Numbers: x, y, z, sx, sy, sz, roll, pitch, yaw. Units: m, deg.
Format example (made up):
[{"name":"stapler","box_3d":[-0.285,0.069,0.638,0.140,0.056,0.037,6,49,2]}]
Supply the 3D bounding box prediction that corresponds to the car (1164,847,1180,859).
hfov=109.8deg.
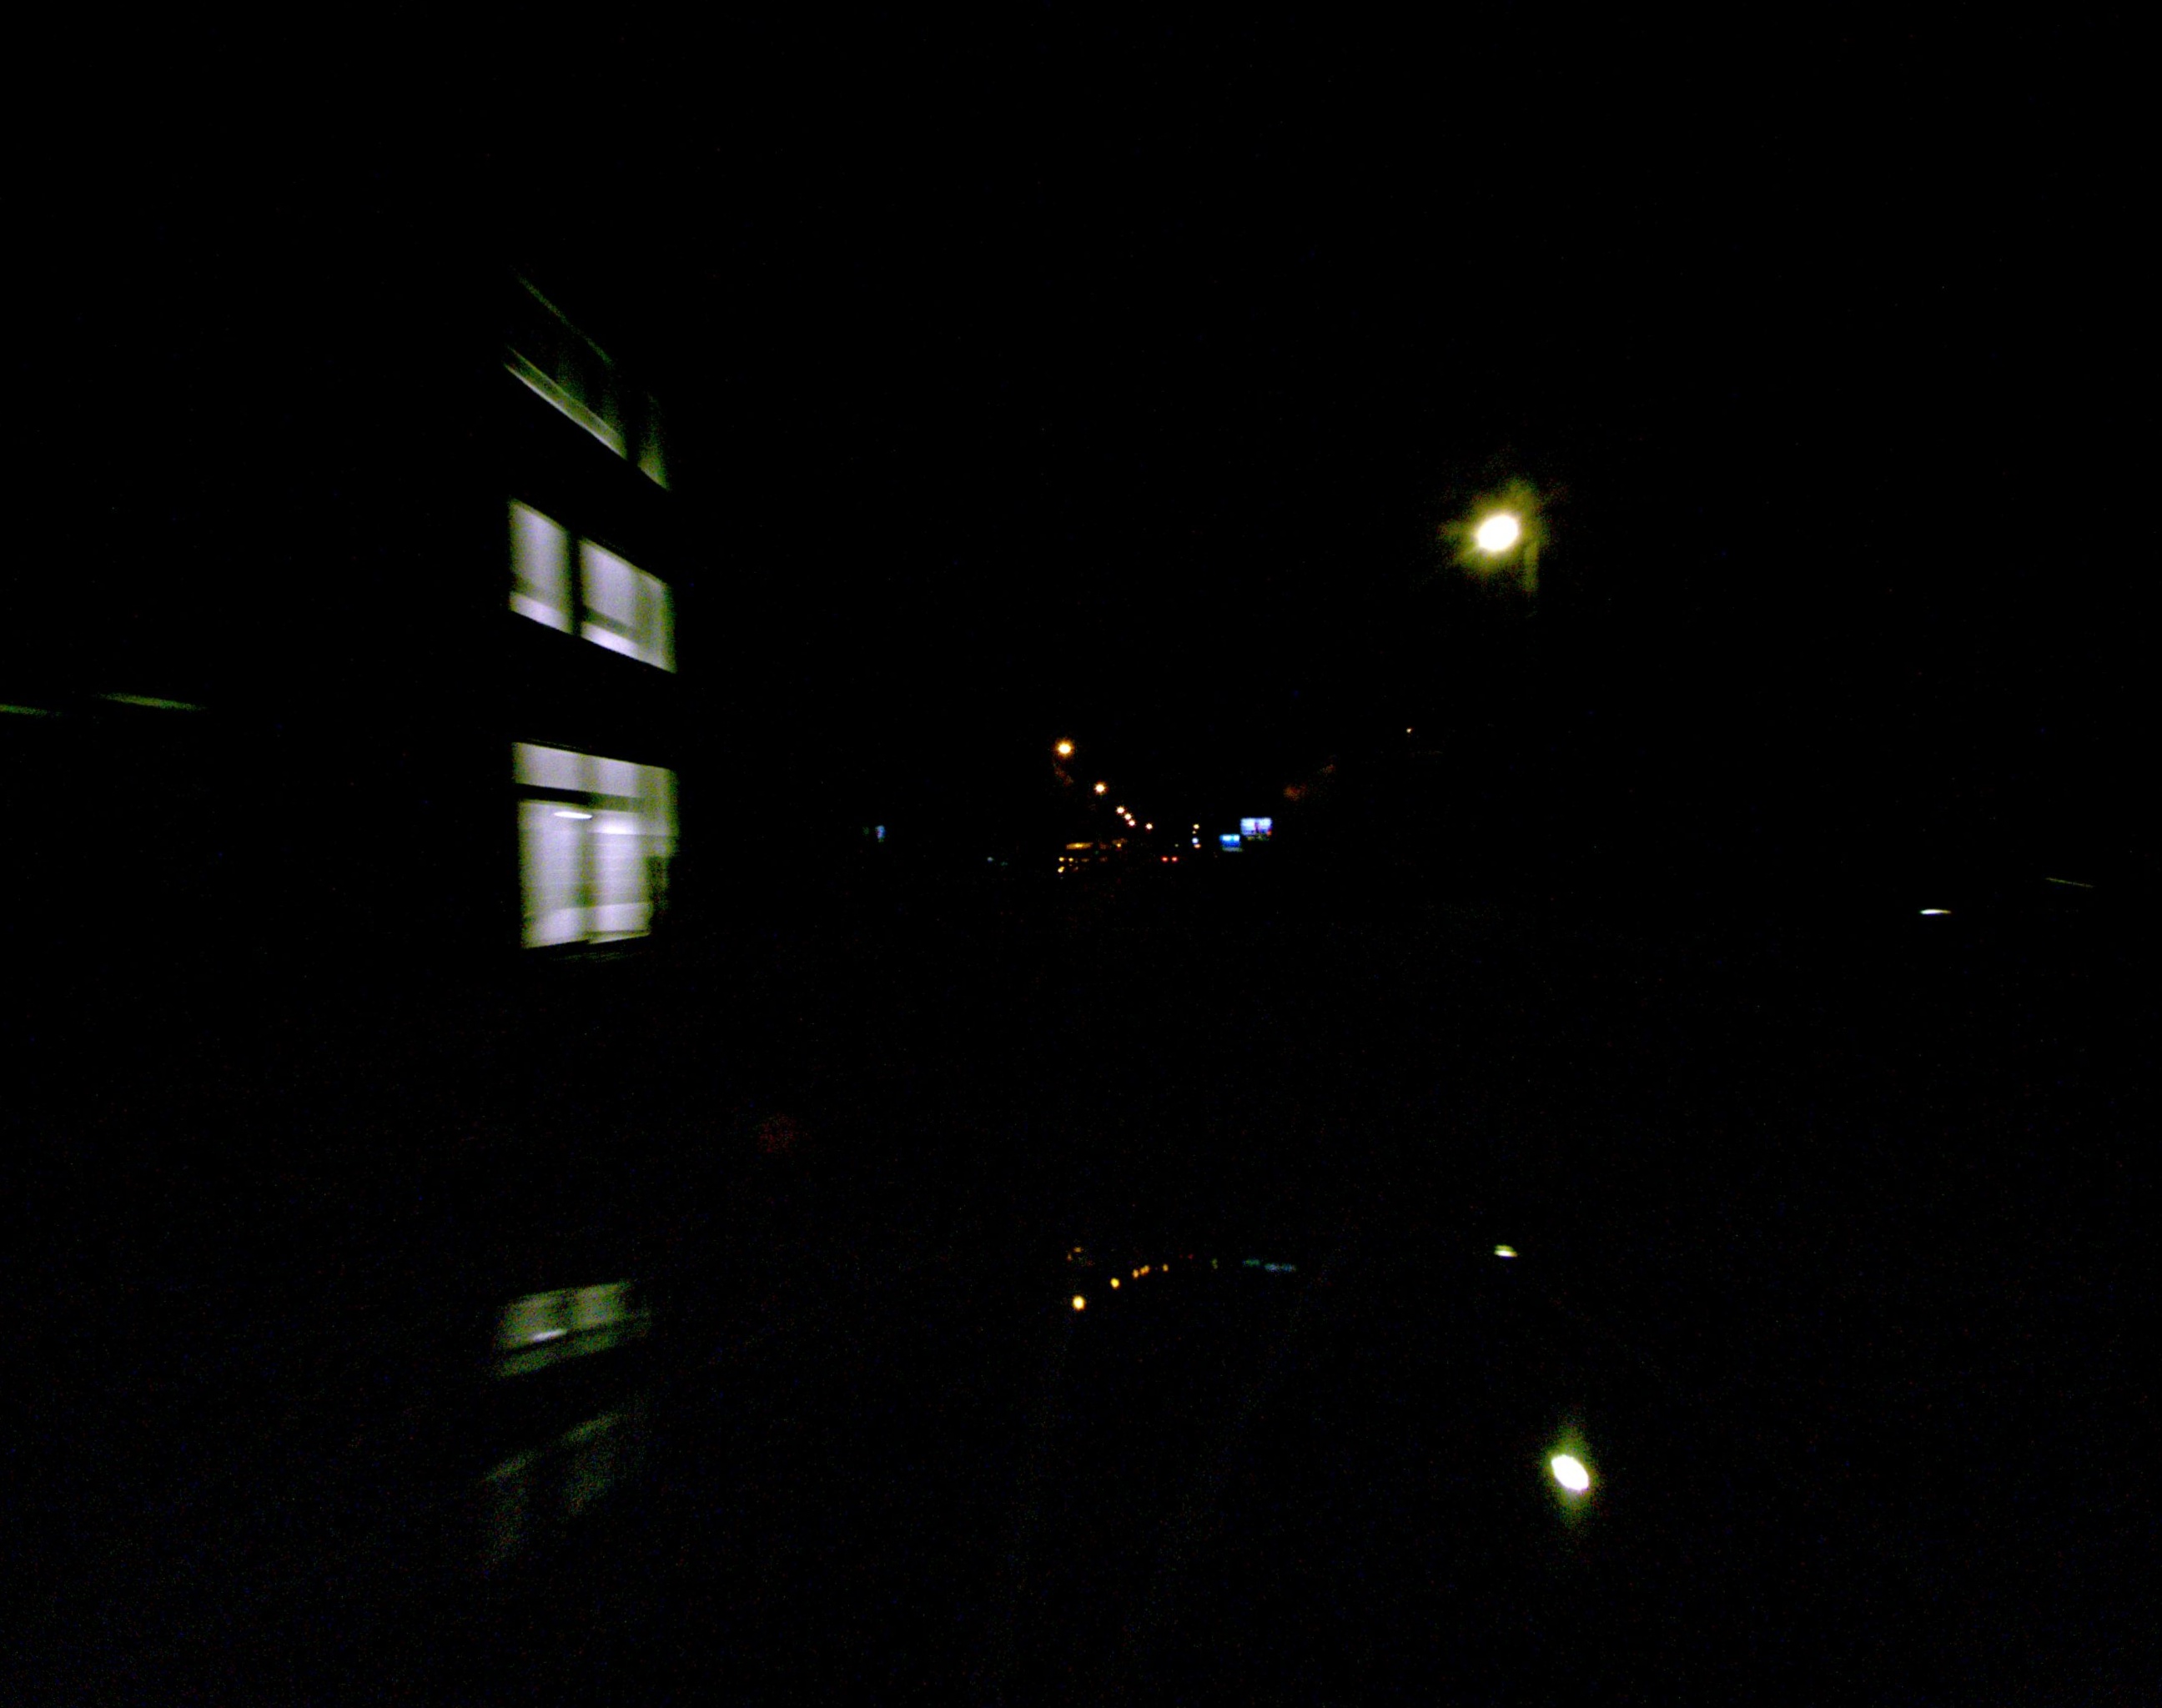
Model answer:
[{"name":"car","box_3d":[11.450,-0.126,95.505,1.861,1.412,4.001,-1,1,5]}]

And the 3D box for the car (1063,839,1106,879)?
[{"name":"car","box_3d":[0.311,0.315,52.589,1.997,2.511,5.913,-4,0,9]}]

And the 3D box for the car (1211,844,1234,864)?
[{"name":"car","box_3d":[13.657,-0.063,73.535,1.817,1.838,4.416,-1,1,5]}]

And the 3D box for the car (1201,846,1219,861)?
[{"name":"car","box_3d":[14.969,-0.105,88.464,1.951,1.678,4.819,-1,0,8]}]

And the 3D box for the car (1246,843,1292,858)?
[{"name":"car","box_3d":[20.398,-0.383,82.549,4.418,1.551,1.997,-1,1,-18]}]

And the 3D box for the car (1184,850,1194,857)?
[{"name":"car","box_3d":[21.545,-0.131,151.601,1.760,1.382,4.311,-1,0,8]}]

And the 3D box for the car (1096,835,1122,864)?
[{"name":"car","box_3d":[2.758,-0.401,73.505,1.998,2.556,6.016,-4,0,6]}]

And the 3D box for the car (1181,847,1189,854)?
[{"name":"car","box_3d":[23.286,-0.735,170.748,1.690,1.357,3.880,-3,1,7]}]

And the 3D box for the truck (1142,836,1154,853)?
[{"name":"truck","box_3d":[17.019,-2.430,191.709,2.658,3.850,10.237,-2,-2,7]}]

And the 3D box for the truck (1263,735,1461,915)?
[{"name":"truck","box_3d":[7.495,-0.680,21.969,2.752,4.010,9.562,-1,0,4]}]

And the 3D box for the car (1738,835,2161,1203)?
[{"name":"car","box_3d":[5.986,0.757,3.273,1.948,1.707,5.198,-1,0,2]}]

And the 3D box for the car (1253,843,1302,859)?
[{"name":"car","box_3d":[19.232,-0.271,74.330,4.419,1.432,1.790,-1,1,-23]}]

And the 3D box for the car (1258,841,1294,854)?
[{"name":"car","box_3d":[25.958,-0.814,101.255,4.408,1.644,1.923,-1,0,9]}]

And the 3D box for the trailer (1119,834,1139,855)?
[{"name":"trailer","box_3d":[8.342,-1.649,130.952,2.884,3.504,8.287,-1,0,7]}]

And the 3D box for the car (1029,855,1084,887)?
[{"name":"car","box_3d":[-1.199,0.824,39.651,1.950,1.480,5.013,-1,0,9]}]

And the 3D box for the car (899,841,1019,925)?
[{"name":"car","box_3d":[-3.143,0.682,20.767,1.997,2.002,4.914,-1,1,6]}]

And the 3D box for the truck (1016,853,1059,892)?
[{"name":"truck","box_3d":[-1.947,0.819,34.992,1.373,1.635,3.813,-1,1,5]}]

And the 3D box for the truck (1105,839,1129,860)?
[{"name":"truck","box_3d":[4.568,-0.551,95.447,2.406,2.579,6.600,-1,0,8]}]

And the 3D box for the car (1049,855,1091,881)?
[{"name":"car","box_3d":[-0.604,0.811,46.055,1.773,1.404,4.553,-1,0,8]}]

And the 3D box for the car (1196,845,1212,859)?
[{"name":"car","box_3d":[16.017,-0.268,99.174,1.808,1.788,4.880,-1,0,7]}]

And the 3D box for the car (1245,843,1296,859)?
[{"name":"car","box_3d":[19.229,-0.300,77.123,4.677,1.542,1.996,-1,1,-23]}]

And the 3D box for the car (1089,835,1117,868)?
[{"name":"car","box_3d":[1.978,-0.210,66.681,2.133,2.556,5.910,-4,0,3]}]

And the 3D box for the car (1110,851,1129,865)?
[{"name":"car","box_3d":[4.450,0.449,88.184,1.833,1.399,4.910,-4,0,6]}]

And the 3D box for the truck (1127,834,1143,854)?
[{"name":"truck","box_3d":[11.318,-2.027,159.210,2.796,3.947,9.825,-2,0,6]}]

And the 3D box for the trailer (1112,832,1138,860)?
[{"name":"trailer","box_3d":[6.622,-1.167,111.589,2.771,3.742,14.661,-2,1,7]}]

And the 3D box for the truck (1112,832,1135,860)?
[{"name":"truck","box_3d":[5.881,-1.102,105.092,2.771,3.742,5.230,-2,1,7]}]
